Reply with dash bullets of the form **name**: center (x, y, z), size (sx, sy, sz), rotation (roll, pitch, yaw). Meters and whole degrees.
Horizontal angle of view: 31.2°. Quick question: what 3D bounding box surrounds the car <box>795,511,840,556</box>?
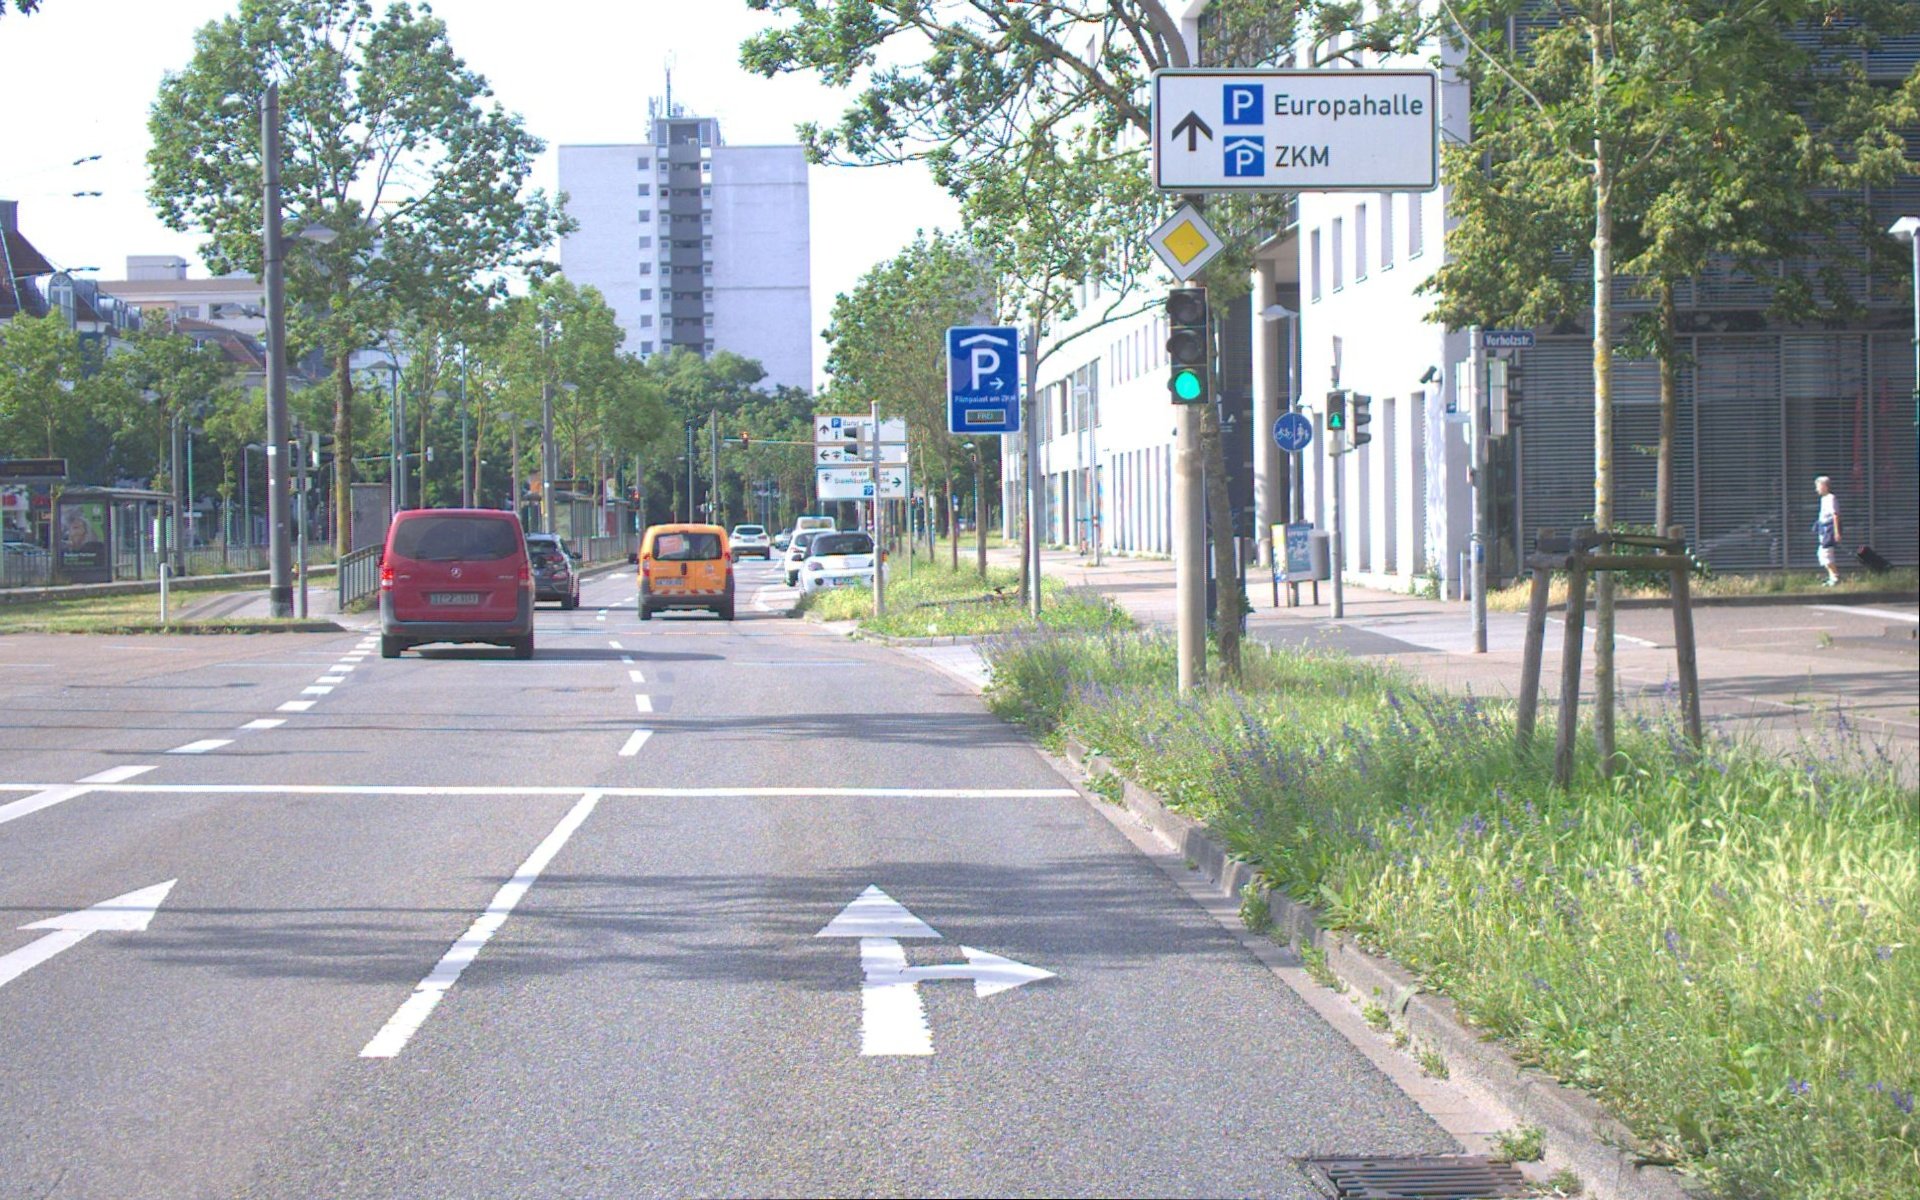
- **car**: center (-6.532, -3.072, 157.785), size (1.993, 2.007, 4.001), rotation (1, 1, -2)

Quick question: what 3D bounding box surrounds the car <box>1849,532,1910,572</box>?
- **car**: center (13.745, -0.718, 51.393), size (0.765, 0.585, 0.498), rotation (-1, 1, -4)

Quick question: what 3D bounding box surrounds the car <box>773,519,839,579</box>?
- **car**: center (-4.187, -1.420, 93.917), size (1.689, 1.521, 3.851), rotation (-3, 1, -2)

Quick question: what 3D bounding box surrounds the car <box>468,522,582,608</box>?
- **car**: center (-8.916, -0.737, 70.721), size (1.993, 1.700, 4.001), rotation (-1, 1, -3)

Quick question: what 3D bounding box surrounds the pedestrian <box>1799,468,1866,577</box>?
- **pedestrian**: center (12.983, -1.153, 51.158), size (0.777, 1.610, 0.713), rotation (-1, 1, -4)

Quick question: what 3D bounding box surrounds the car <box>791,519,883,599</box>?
- **car**: center (-2.452, -0.826, 67.885), size (1.720, 1.514, 3.782), rotation (-1, 1, -3)

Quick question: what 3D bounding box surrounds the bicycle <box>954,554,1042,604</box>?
- **bicycle**: center (0.599, -0.332, 53.715), size (1.271, 0.630, 0.521), rotation (-7, 1, 5)

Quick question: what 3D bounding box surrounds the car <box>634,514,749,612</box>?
- **car**: center (-4.815, -0.691, 62.062), size (1.875, 1.690, 3.974), rotation (-1, 1, -2)

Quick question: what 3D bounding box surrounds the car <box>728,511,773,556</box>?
- **car**: center (-9.528, -3.011, 156.476), size (1.993, 2.007, 4.001), rotation (-1, 1, -4)

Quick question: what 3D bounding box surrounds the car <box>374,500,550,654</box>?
- **car**: center (-6.274, -0.329, 43.695), size (1.874, 1.847, 4.001), rotation (-1, 1, -4)
